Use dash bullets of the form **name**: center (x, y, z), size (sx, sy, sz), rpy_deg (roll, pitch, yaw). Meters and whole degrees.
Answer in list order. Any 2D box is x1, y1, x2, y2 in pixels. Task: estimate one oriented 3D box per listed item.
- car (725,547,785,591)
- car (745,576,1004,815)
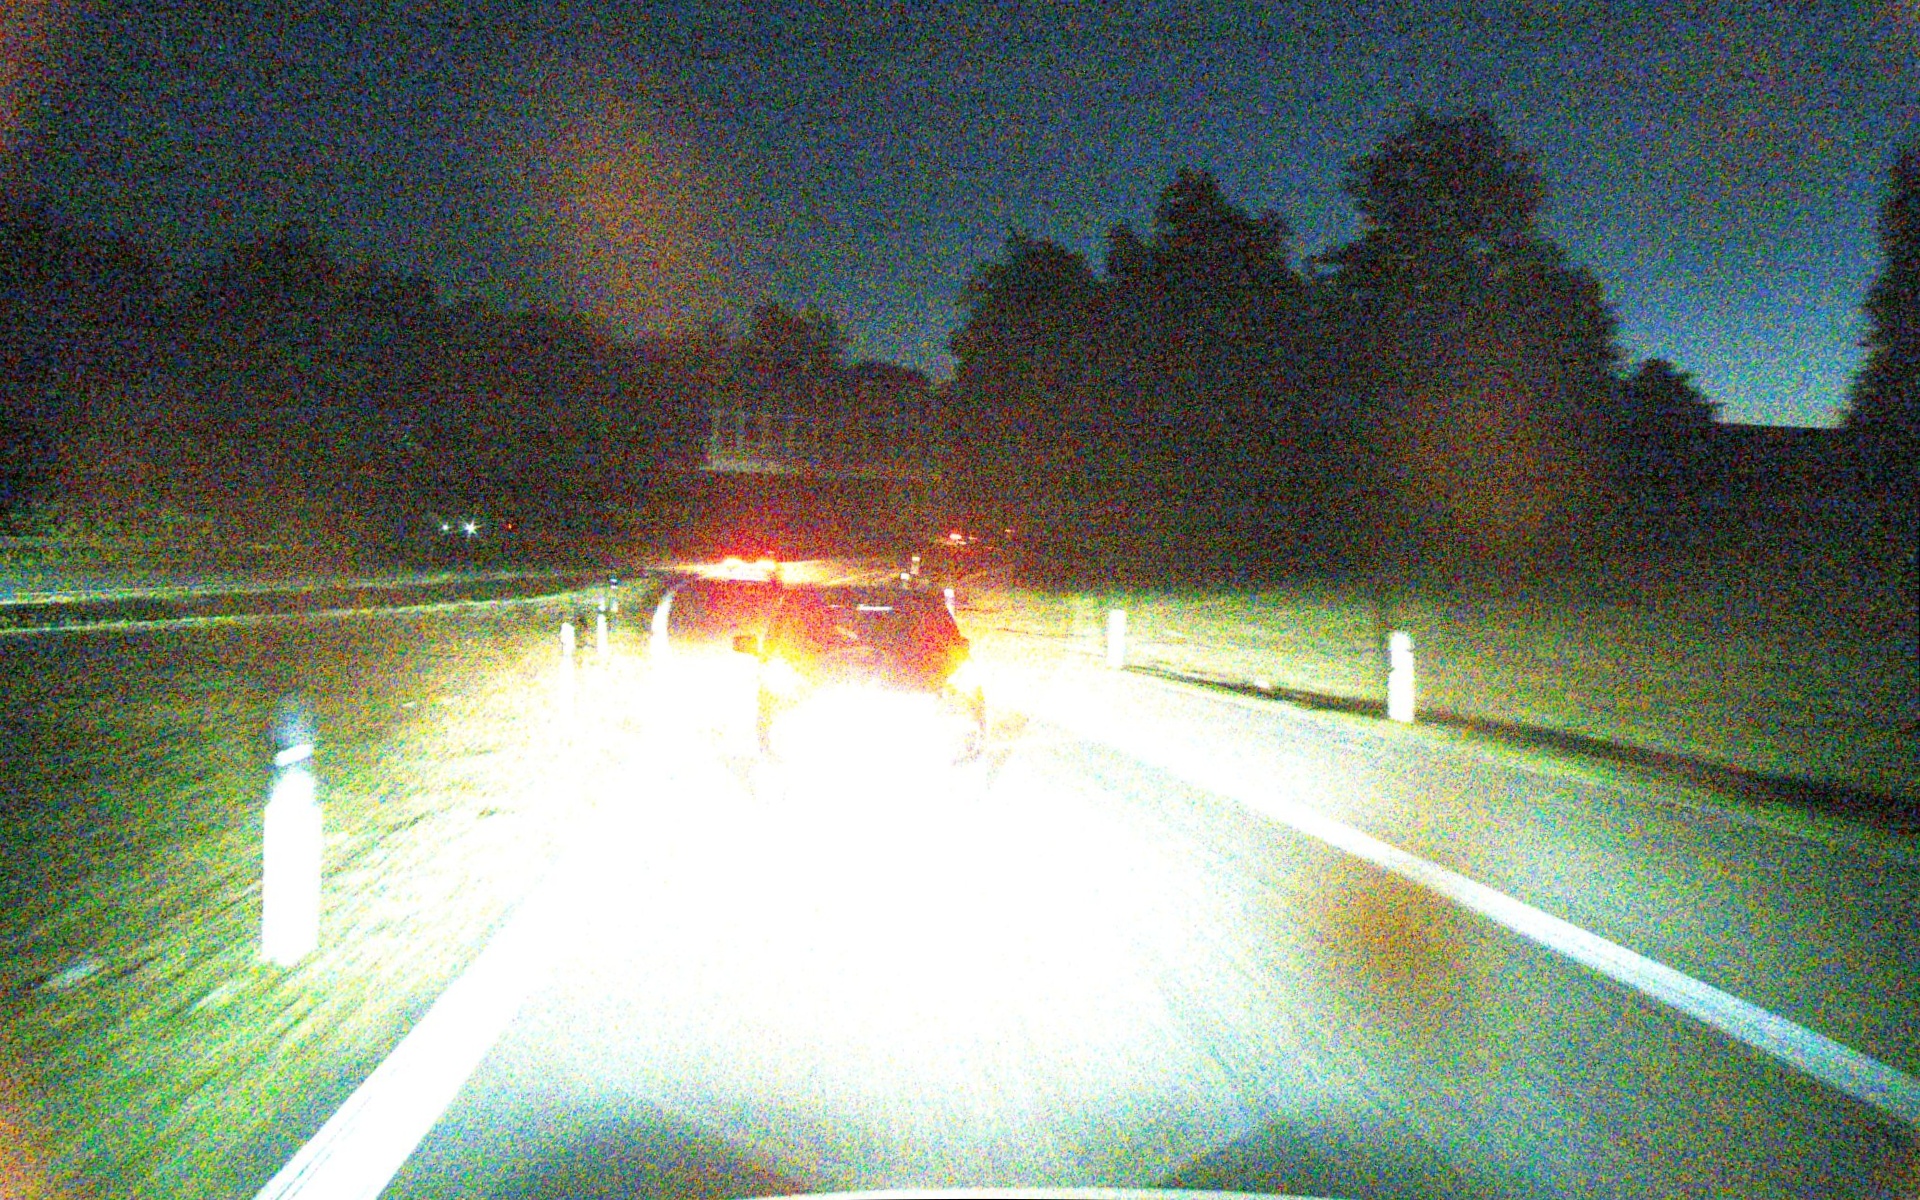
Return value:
- **car**: center (-7.455, -1.129, 60.444), size (1.913, 1.565, 4.238), rpy_deg (0, 1, -4)
- **car**: center (-0.718, 0.585, 12.693), size (1.658, 1.503, 3.996), rpy_deg (-1, 1, -5)
